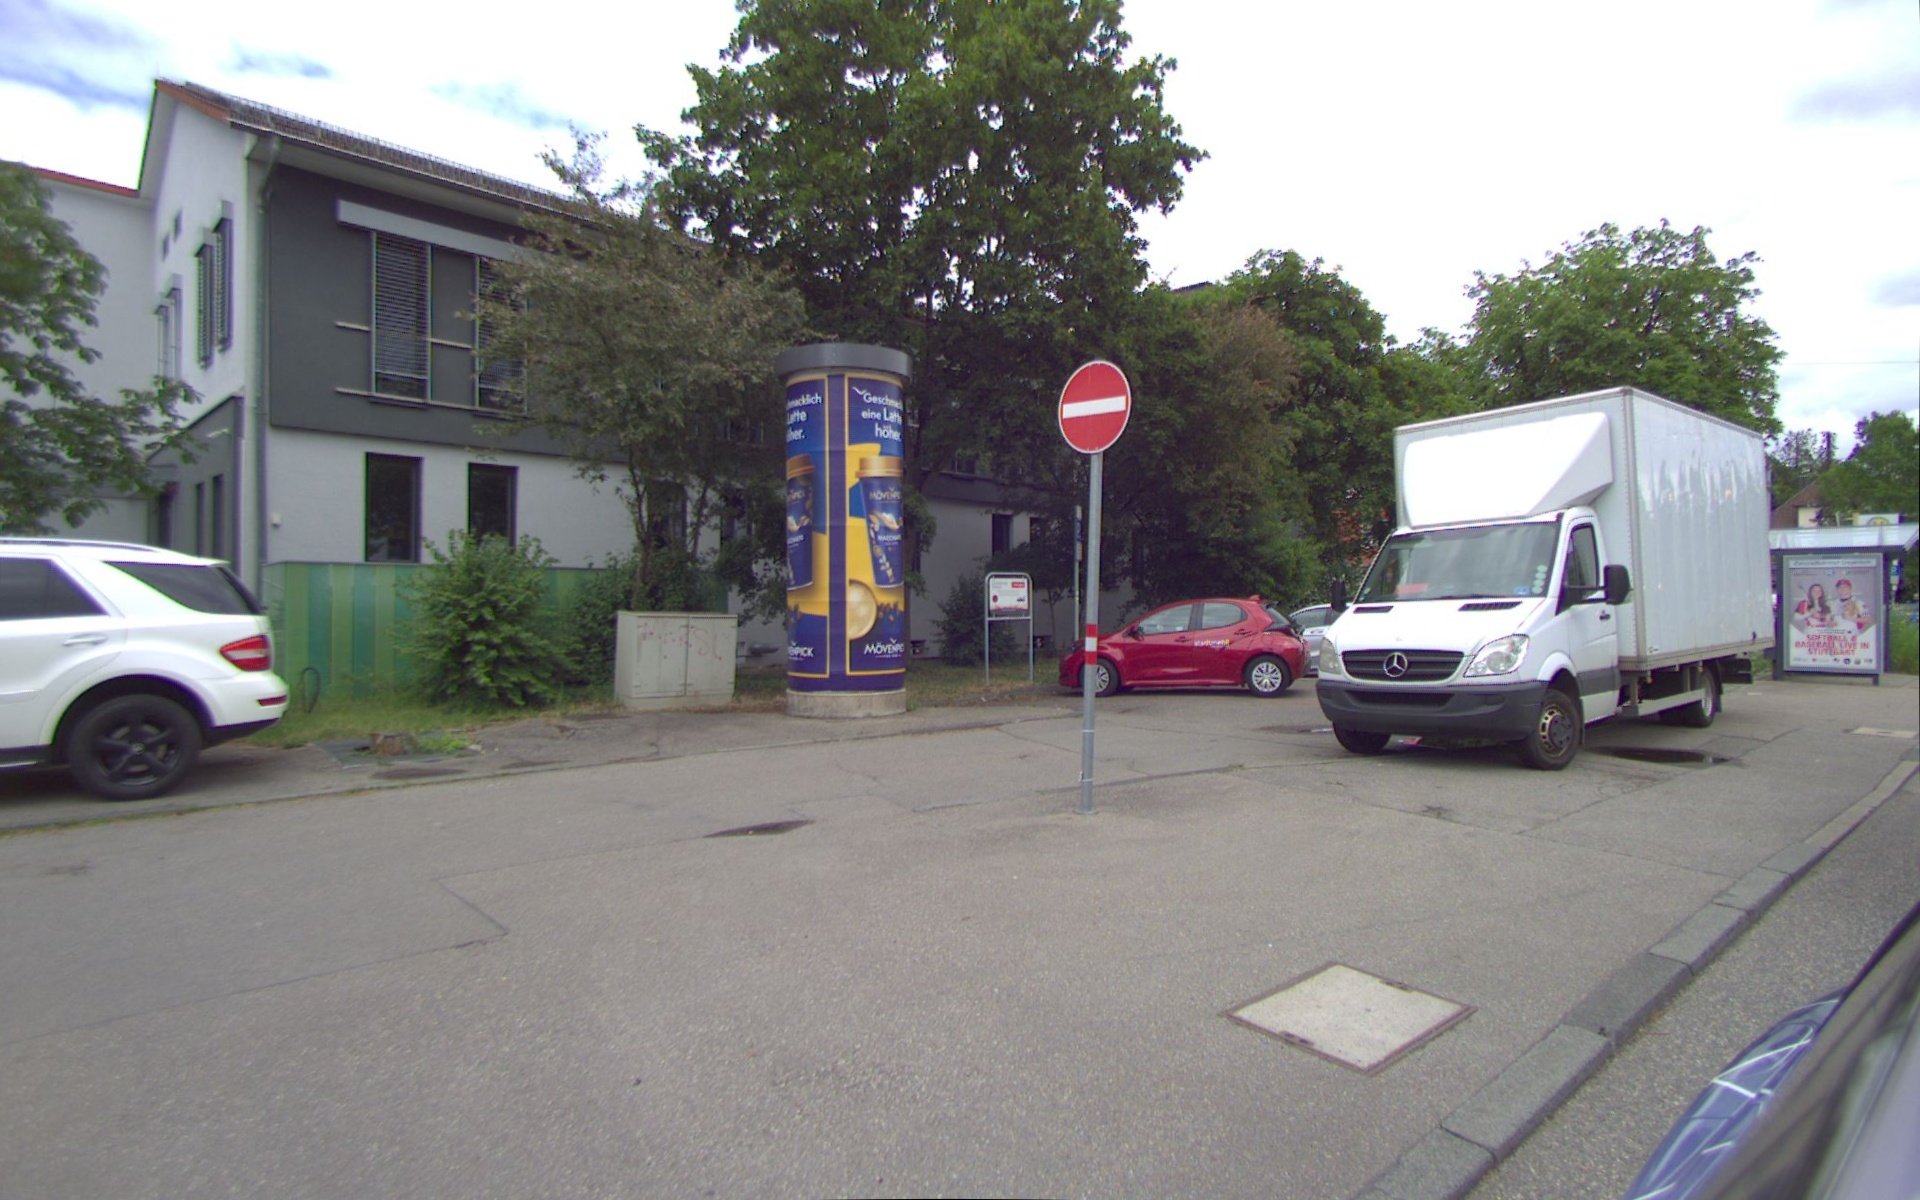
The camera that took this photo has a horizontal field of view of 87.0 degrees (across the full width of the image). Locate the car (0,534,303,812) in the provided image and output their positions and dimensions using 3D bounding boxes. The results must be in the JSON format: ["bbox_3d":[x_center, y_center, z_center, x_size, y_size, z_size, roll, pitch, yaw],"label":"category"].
[{"bbox_3d":[-7.266,0.468,6.750,4.640,1.780,1.855,0,0,-41],"label":"car"}]

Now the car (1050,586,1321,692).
[{"bbox_3d":[3.517,0.616,15.845,3.856,1.502,1.669,-2,-1,25],"label":"car"}]

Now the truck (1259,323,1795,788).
[{"bbox_3d":[6.558,-0.392,11.006,7.638,3.469,2.540,-1,0,-40],"label":"truck"}]

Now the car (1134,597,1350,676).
[{"bbox_3d":[5.548,0.712,20.092,3.946,1.428,1.516,-2,-1,18],"label":"car"}]
